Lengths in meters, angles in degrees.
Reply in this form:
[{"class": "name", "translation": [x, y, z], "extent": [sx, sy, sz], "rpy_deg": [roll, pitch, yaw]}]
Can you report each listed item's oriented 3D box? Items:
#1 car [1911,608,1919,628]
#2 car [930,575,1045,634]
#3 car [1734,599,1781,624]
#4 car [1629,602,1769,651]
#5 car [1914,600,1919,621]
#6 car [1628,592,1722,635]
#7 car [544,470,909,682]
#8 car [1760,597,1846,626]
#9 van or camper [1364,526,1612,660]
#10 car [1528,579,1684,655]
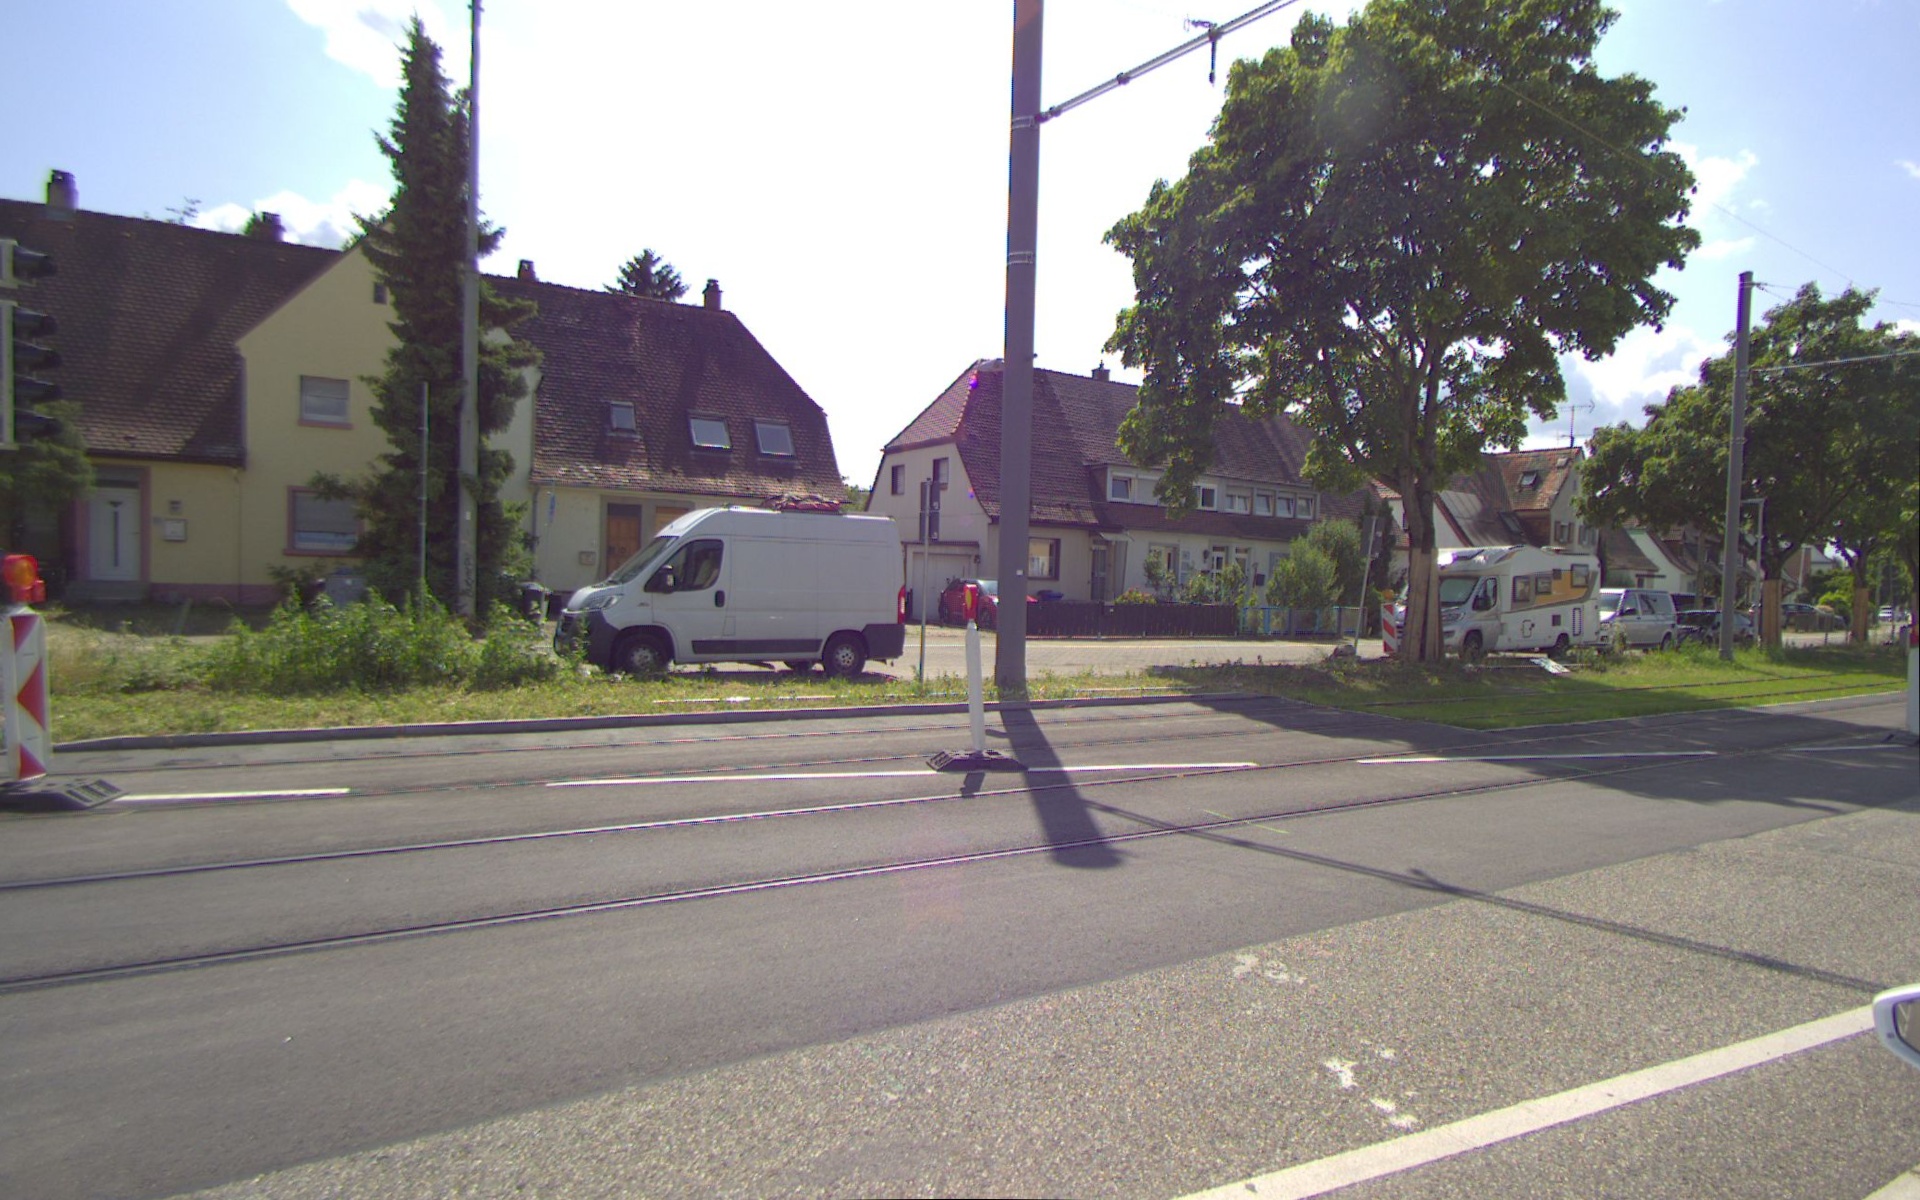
[{"class": "car", "translation": [88.839, 1.713, 91.949], "extent": [5.039, 1.792, 1.866], "rpy_deg": [1, 2, -39]}, {"class": "car", "translation": [0.751, 0.110, 29.383], "extent": [1.652, 1.542, 3.598], "rpy_deg": [1, 2, -31]}, {"class": "car", "translation": [51.332, 0.740, 64.632], "extent": [4.015, 1.538, 1.712], "rpy_deg": [1, 2, -43]}, {"class": "car", "translation": [23.911, 0.859, 32.472], "extent": [4.750, 1.406, 1.844], "rpy_deg": [1, 2, -29]}, {"class": "car", "translation": [122.861, 1.338, 127.219], "extent": [2.047, 2.757, 6.976], "rpy_deg": [1, 0, 37]}, {"class": "car", "translation": [37.779, 0.689, 53.181], "extent": [3.829, 1.922, 1.938], "rpy_deg": [5, 3, 33]}, {"class": "car", "translation": [-3.433, -0.296, 14.975], "extent": [4.859, 2.704, 2.142], "rpy_deg": [1, 2, -31]}, {"class": "car", "translation": [59.932, 0.780, 71.483], "extent": [2.051, 1.861, 4.426], "rpy_deg": [0, 2, -43]}, {"class": "van or camper", "translation": [13.580, -0.135, 25.585], "extent": [7.219, 3.010, 2.361], "rpy_deg": [1, 1, -34]}, {"class": "car", "translation": [18.969, 0.487, 29.424], "extent": [4.852, 2.041, 1.981], "rpy_deg": [1, 2, -33]}]
